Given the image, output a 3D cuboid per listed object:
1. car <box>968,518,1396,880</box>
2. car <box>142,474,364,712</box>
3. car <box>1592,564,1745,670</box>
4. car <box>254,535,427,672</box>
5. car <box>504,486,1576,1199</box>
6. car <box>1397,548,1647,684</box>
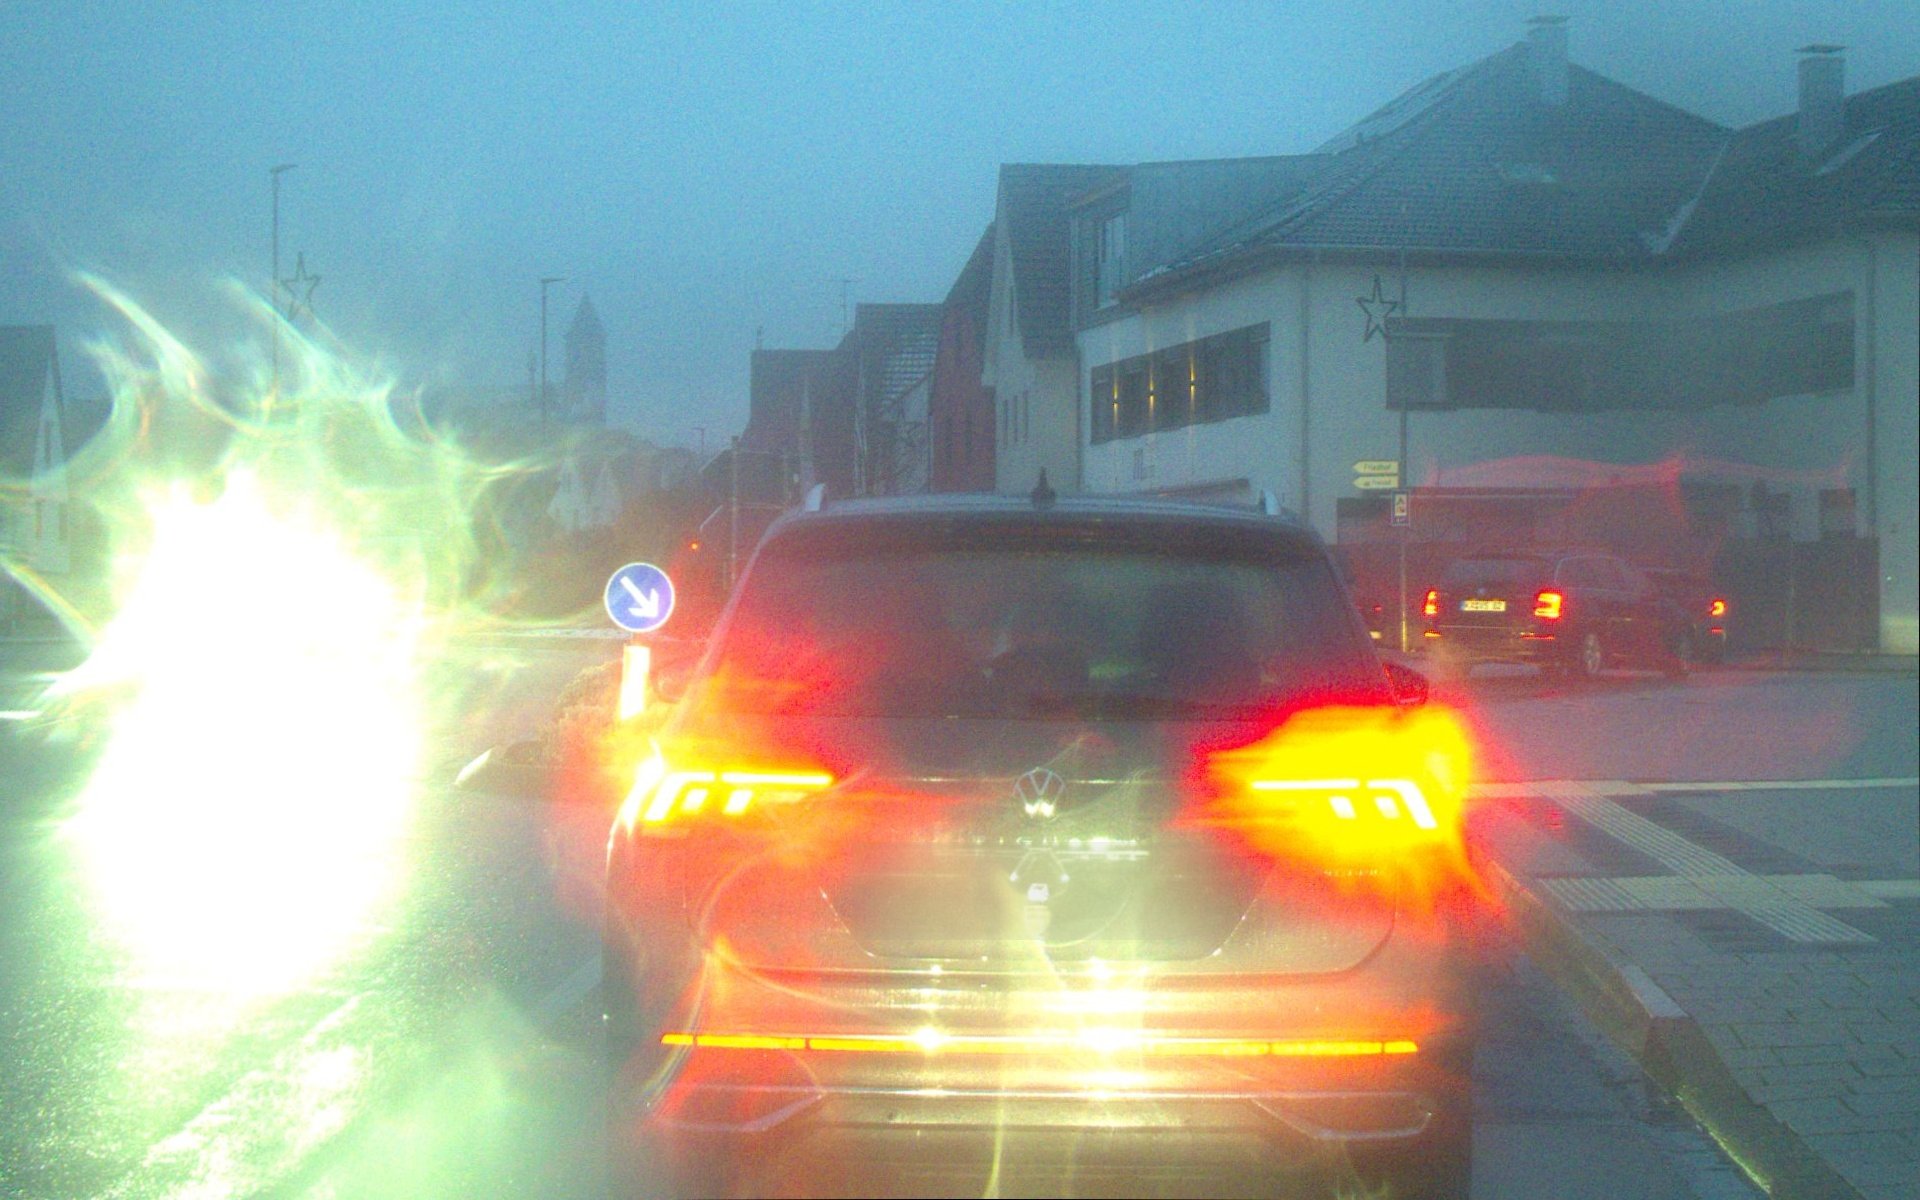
[{"bbox_3d":[0.911,0.367,16.031,1.682,1.448,4.000,1,1,0],"label":"car"},{"bbox_3d":[-7.143,-0.079,34.864,1.993,2.196,4.419,2,0,-11],"label":"car"},{"bbox_3d":[10.138,0.241,49.014,1.995,1.413,3.998,-1,0,13],"label":"car"},{"bbox_3d":[-9.766,0.089,54.508,1.993,2.007,4.000,2,-1,-1],"label":"car"},{"bbox_3d":[0.130,0.565,8.560,1.964,1.589,4.313,1,1,0],"label":"car"},{"bbox_3d":[6.349,0.151,38.488,1.995,1.387,3.996,-1,1,21],"label":"car"}]
